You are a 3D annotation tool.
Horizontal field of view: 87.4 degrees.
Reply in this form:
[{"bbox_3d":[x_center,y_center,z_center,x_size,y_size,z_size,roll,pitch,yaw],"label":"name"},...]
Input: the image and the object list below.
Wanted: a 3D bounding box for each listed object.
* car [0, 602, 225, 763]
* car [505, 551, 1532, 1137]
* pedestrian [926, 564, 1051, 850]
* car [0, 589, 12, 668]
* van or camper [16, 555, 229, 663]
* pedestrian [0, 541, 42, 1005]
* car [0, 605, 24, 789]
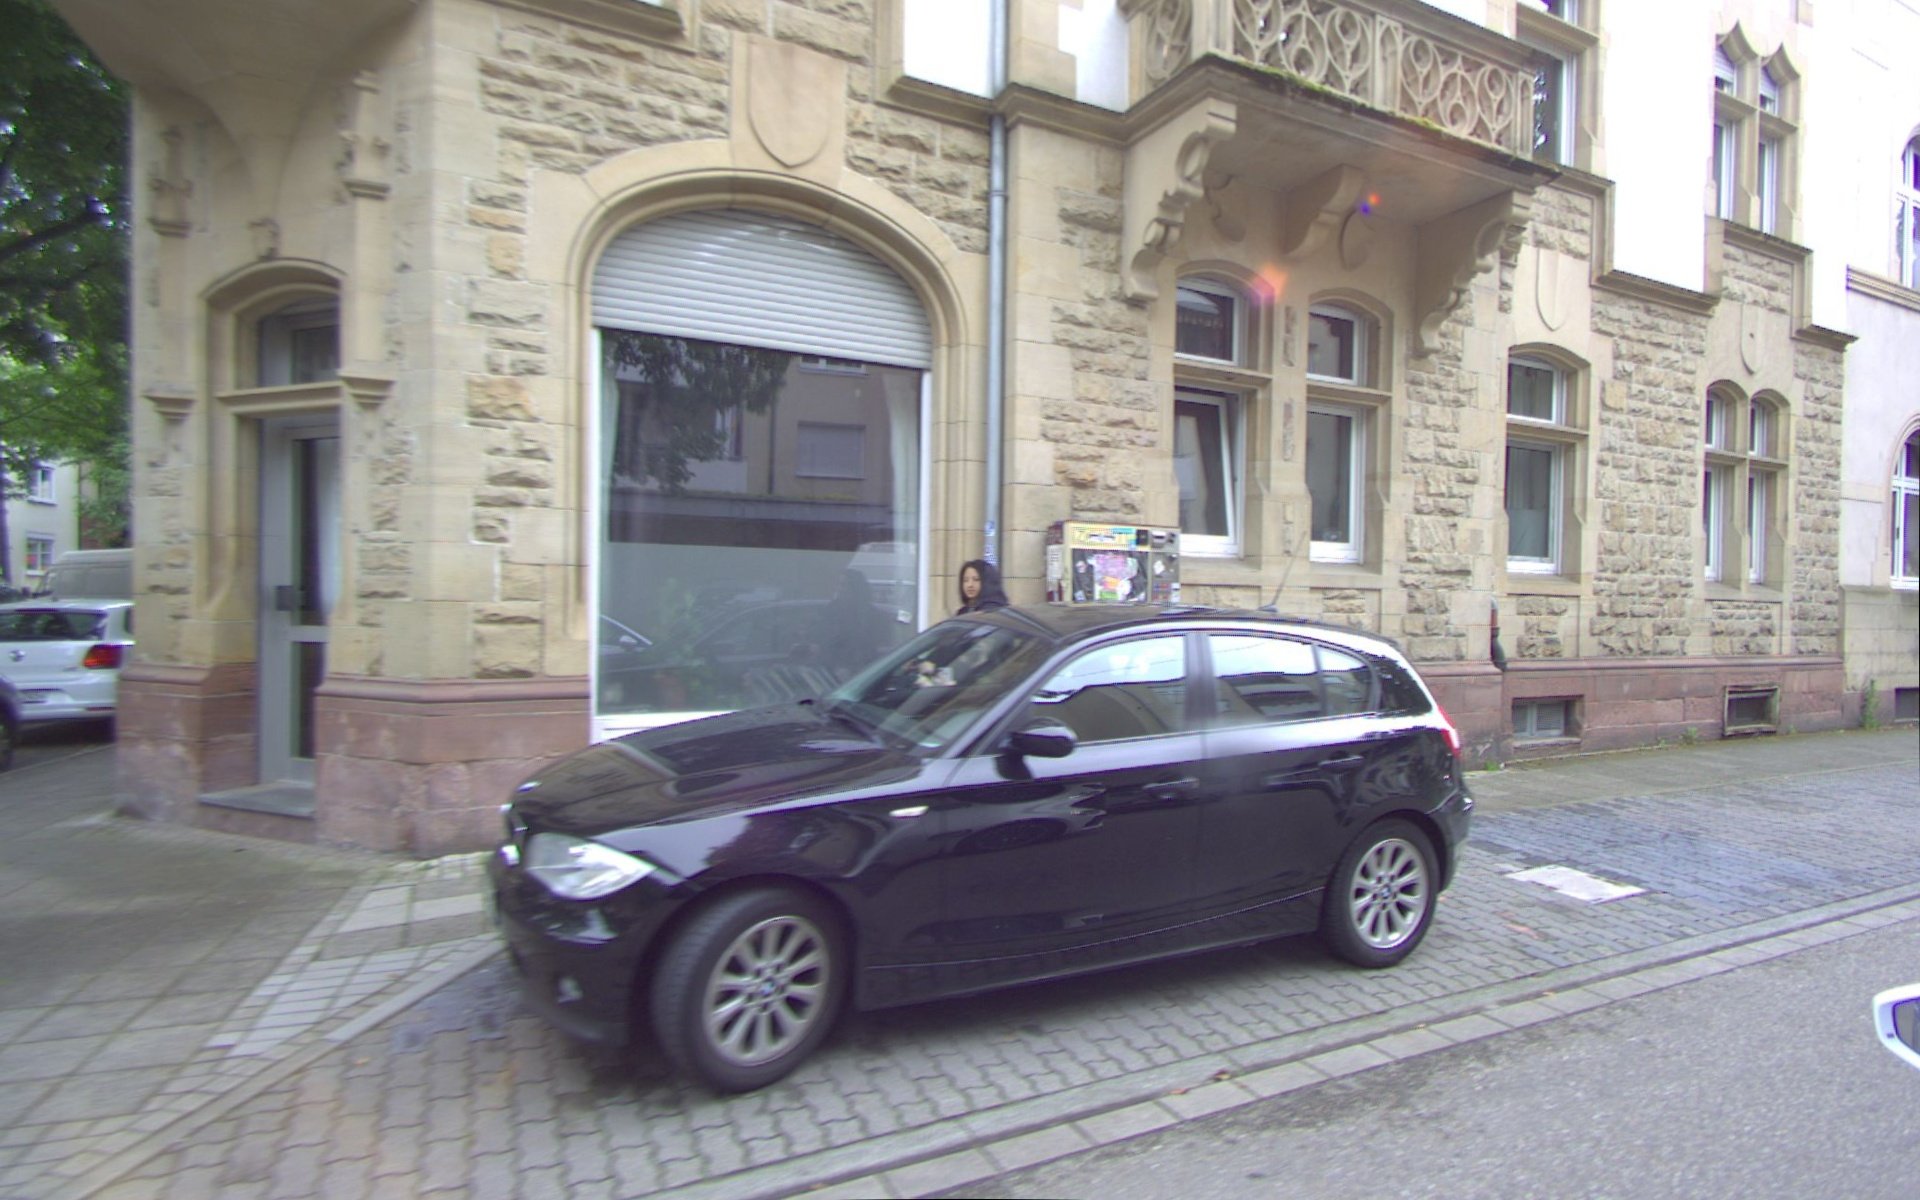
[{"bbox_3d":[-9.673,0.805,11.136,1.626,1.480,3.482,-3,1,-23],"label":"car"},{"bbox_3d":[0.279,0.667,4.216,3.946,1.514,1.704,2,1,-26],"label":"car"},{"bbox_3d":[0.157,0.580,5.773,0.539,1.539,0.513,0,0,-26],"label":"pedestrian"},{"bbox_3d":[-20.608,0.476,19.378,3.684,1.537,1.758,2,-1,18],"label":"car"},{"bbox_3d":[-20.947,0.203,25.113,5.198,2.494,2.073,0,0,25],"label":"van or camper"},{"bbox_3d":[-3.702,0.600,3.392,0.656,1.615,0.632,1,1,15],"label":"pedestrian"},{"bbox_3d":[-8.097,0.775,6.439,1.623,1.479,3.567,-2,-1,-17],"label":"car"}]
